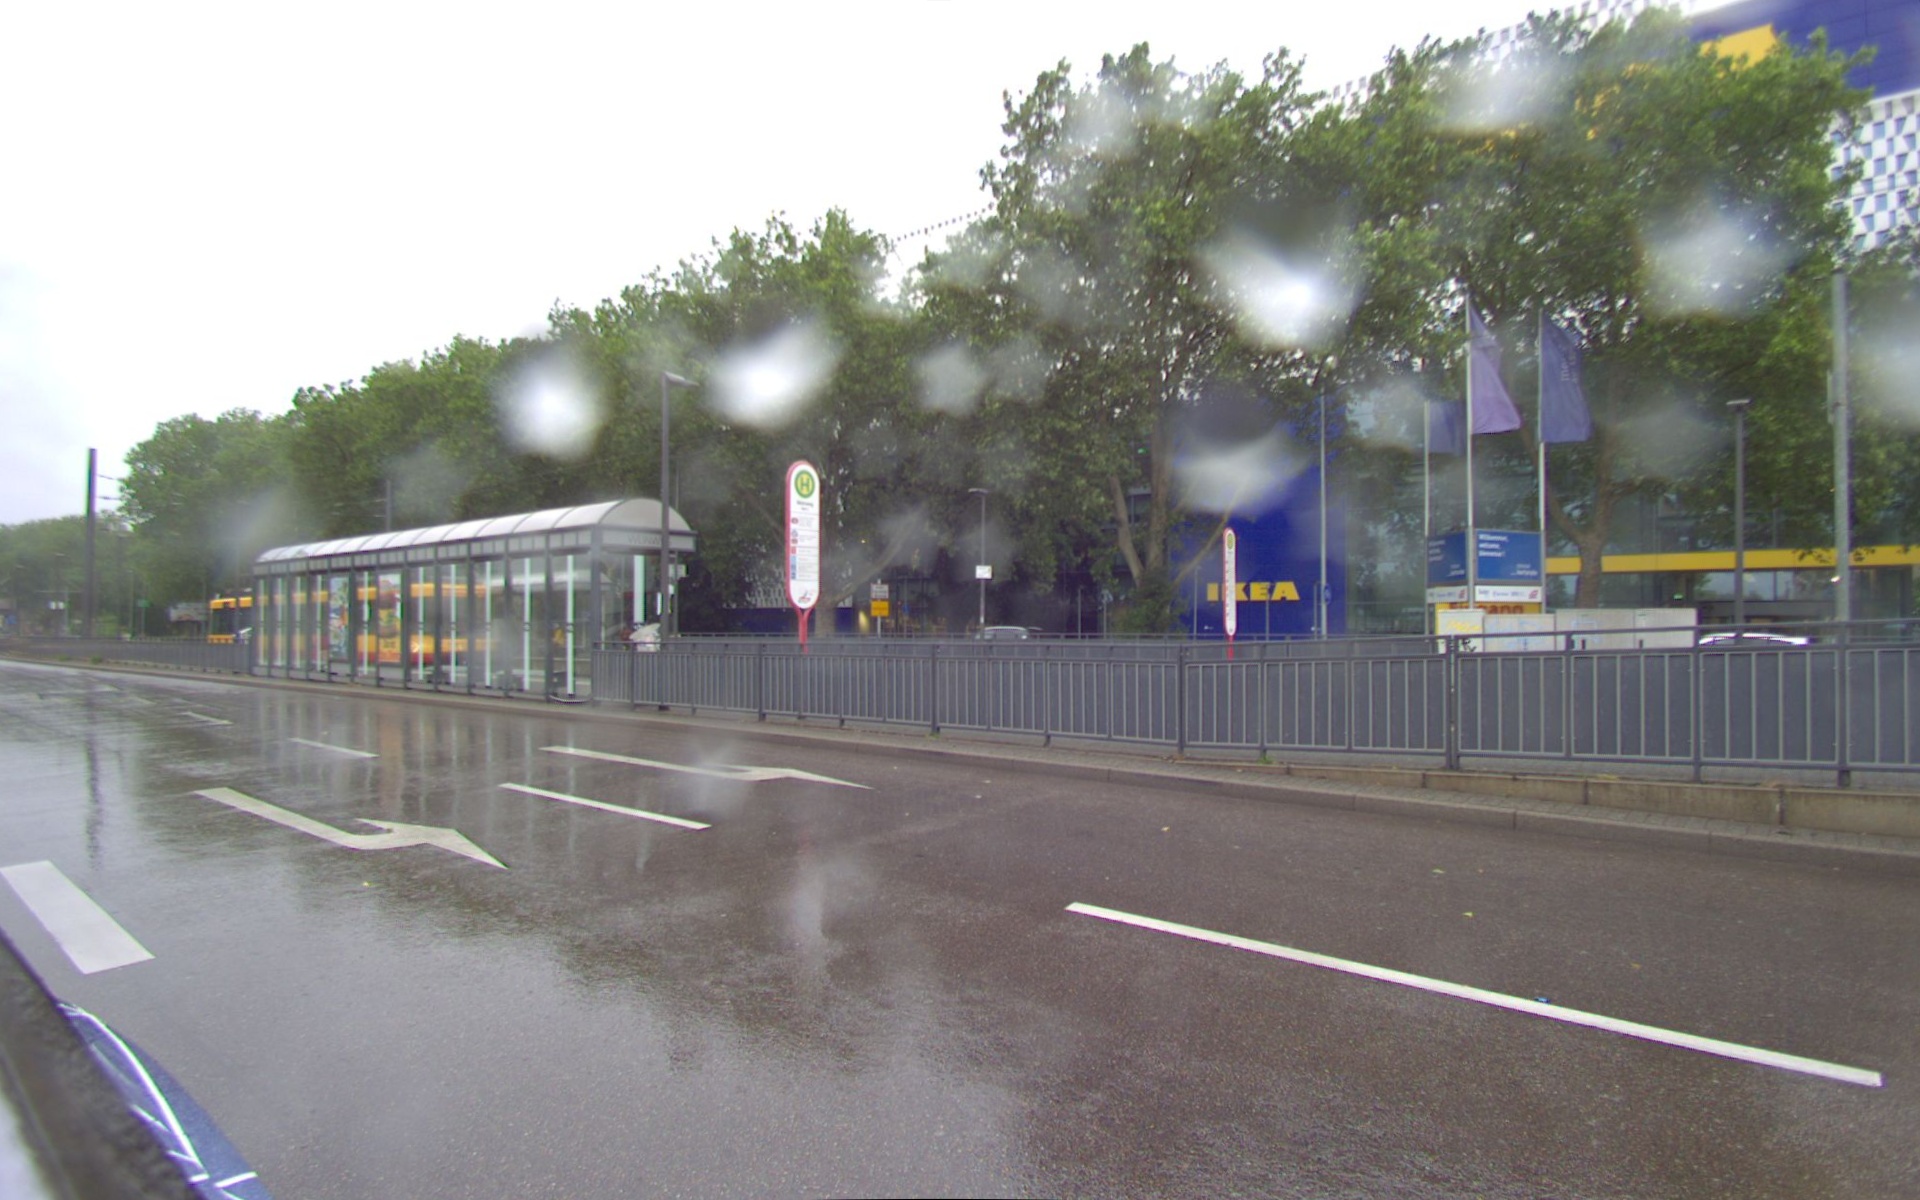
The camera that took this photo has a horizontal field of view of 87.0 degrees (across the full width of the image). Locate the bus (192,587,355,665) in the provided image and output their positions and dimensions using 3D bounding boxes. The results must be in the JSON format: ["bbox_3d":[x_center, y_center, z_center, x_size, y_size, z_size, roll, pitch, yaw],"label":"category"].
[{"bbox_3d":[-34.001,1.171,49.650,15.056,3.354,2.901,-1,0,41],"label":"bus"}]

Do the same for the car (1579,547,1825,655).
[{"bbox_3d":[15.349,-0.002,21.035,3.998,2.029,1.973,0,1,41],"label":"car"}]

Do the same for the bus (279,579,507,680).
[{"bbox_3d":[-22.635,1.051,39.646,15.055,3.354,2.901,-1,0,41],"label":"bus"}]
